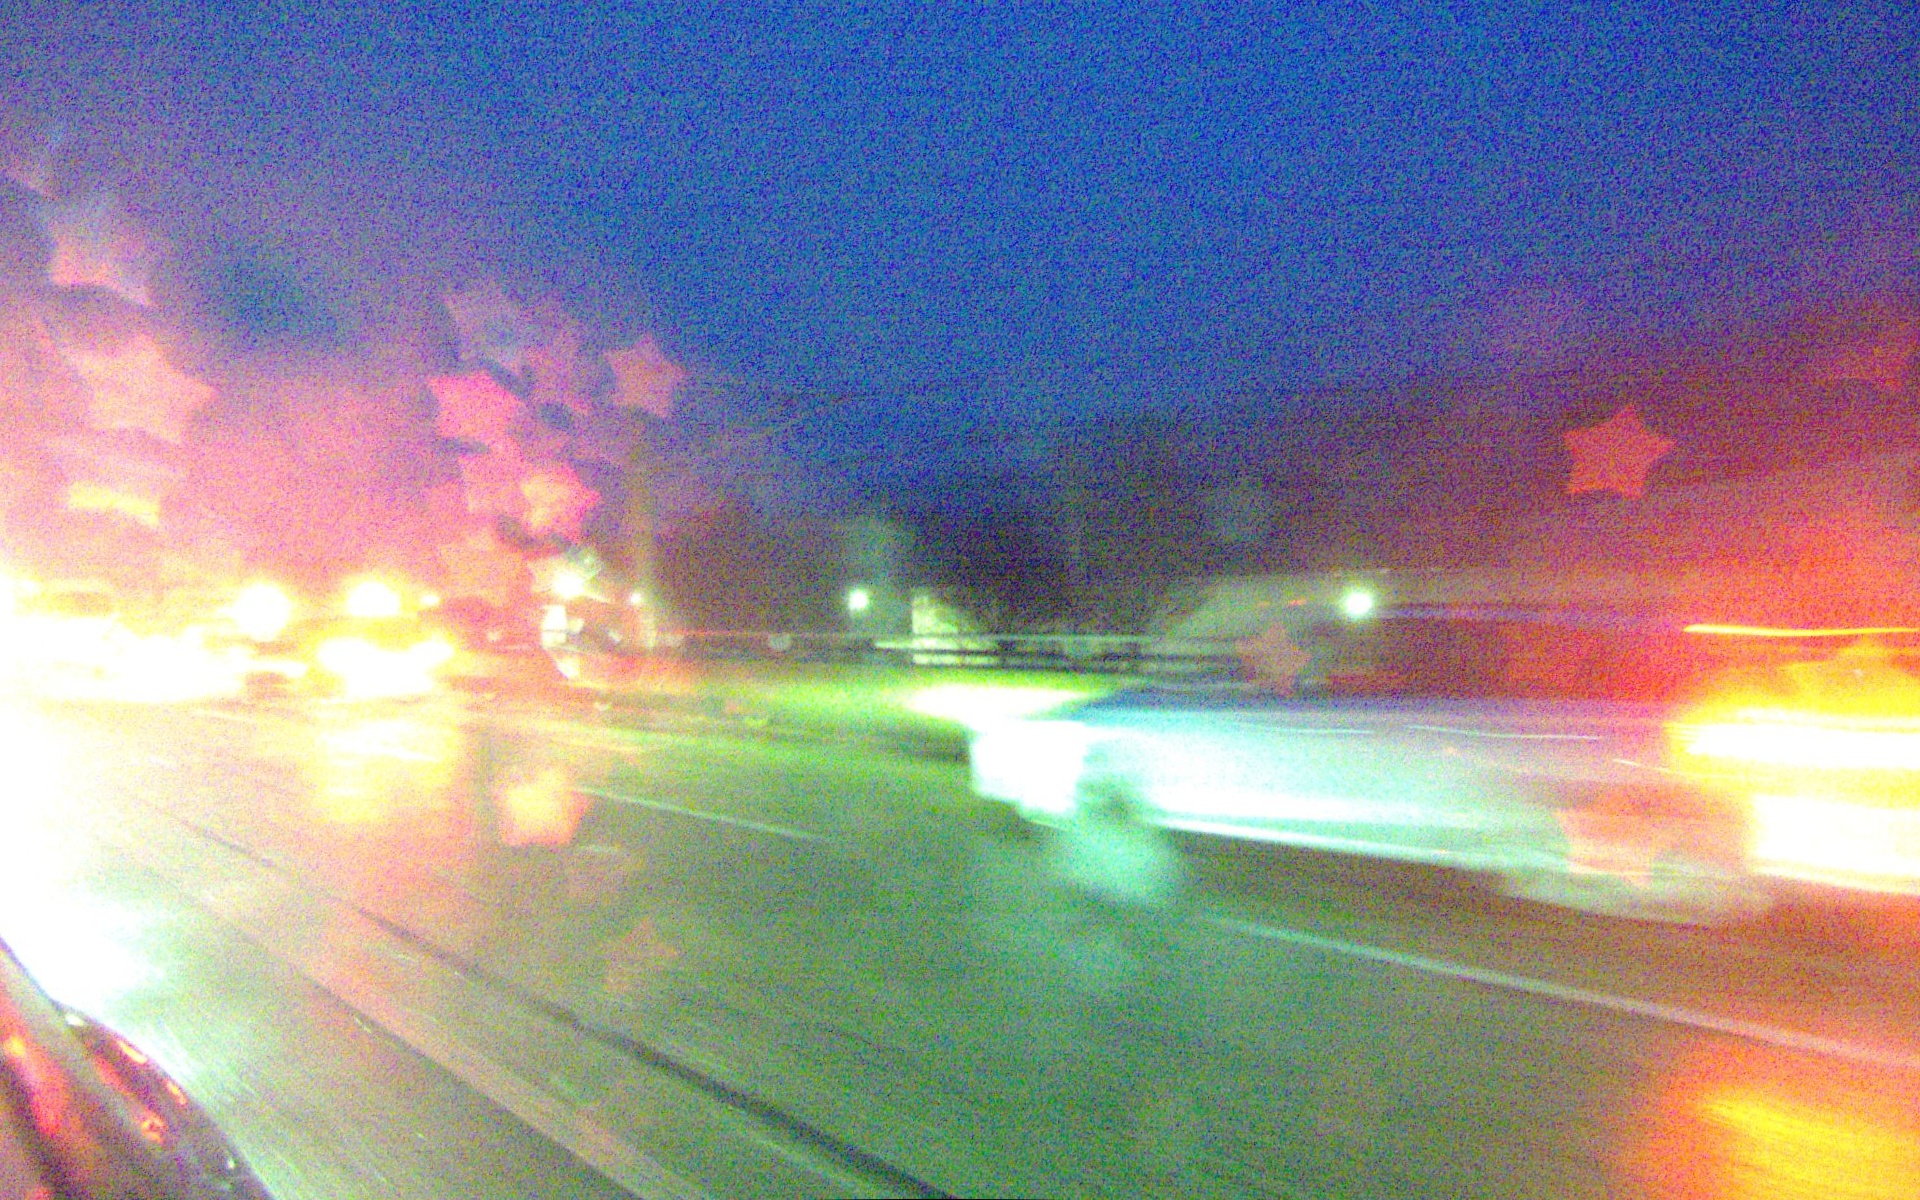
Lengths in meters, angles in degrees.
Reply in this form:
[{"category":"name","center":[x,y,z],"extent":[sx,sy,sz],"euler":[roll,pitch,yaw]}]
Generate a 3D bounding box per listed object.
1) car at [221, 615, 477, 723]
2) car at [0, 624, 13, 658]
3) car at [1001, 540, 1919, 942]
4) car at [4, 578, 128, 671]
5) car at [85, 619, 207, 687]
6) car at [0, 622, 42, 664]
[{"category":"car","center":[-10.015,1.015,16.417],"extent":[4.988,1.460,2.056],"euler":[-1,-1,40]},{"category":"car","center":[-45.824,1.932,47.466],"extent":[3.825,1.519,1.702],"euler":[-1,-1,41]},{"category":"car","center":[2.607,0.546,5.645],"extent":[4.542,1.455,1.899],"euler":[-1,-1,40]},{"category":"car","center":[-28.736,0.779,32.447],"extent":[6.236,2.728,2.101],"euler":[-1,-1,40]},{"category":"car","center":[-20.675,1.285,25.660],"extent":[3.987,1.548,1.858],"euler":[-2,-1,43]},{"category":"car","center":[-38.967,1.743,41.323],"extent":[4.309,1.600,1.703],"euler":[-1,-1,41]}]
